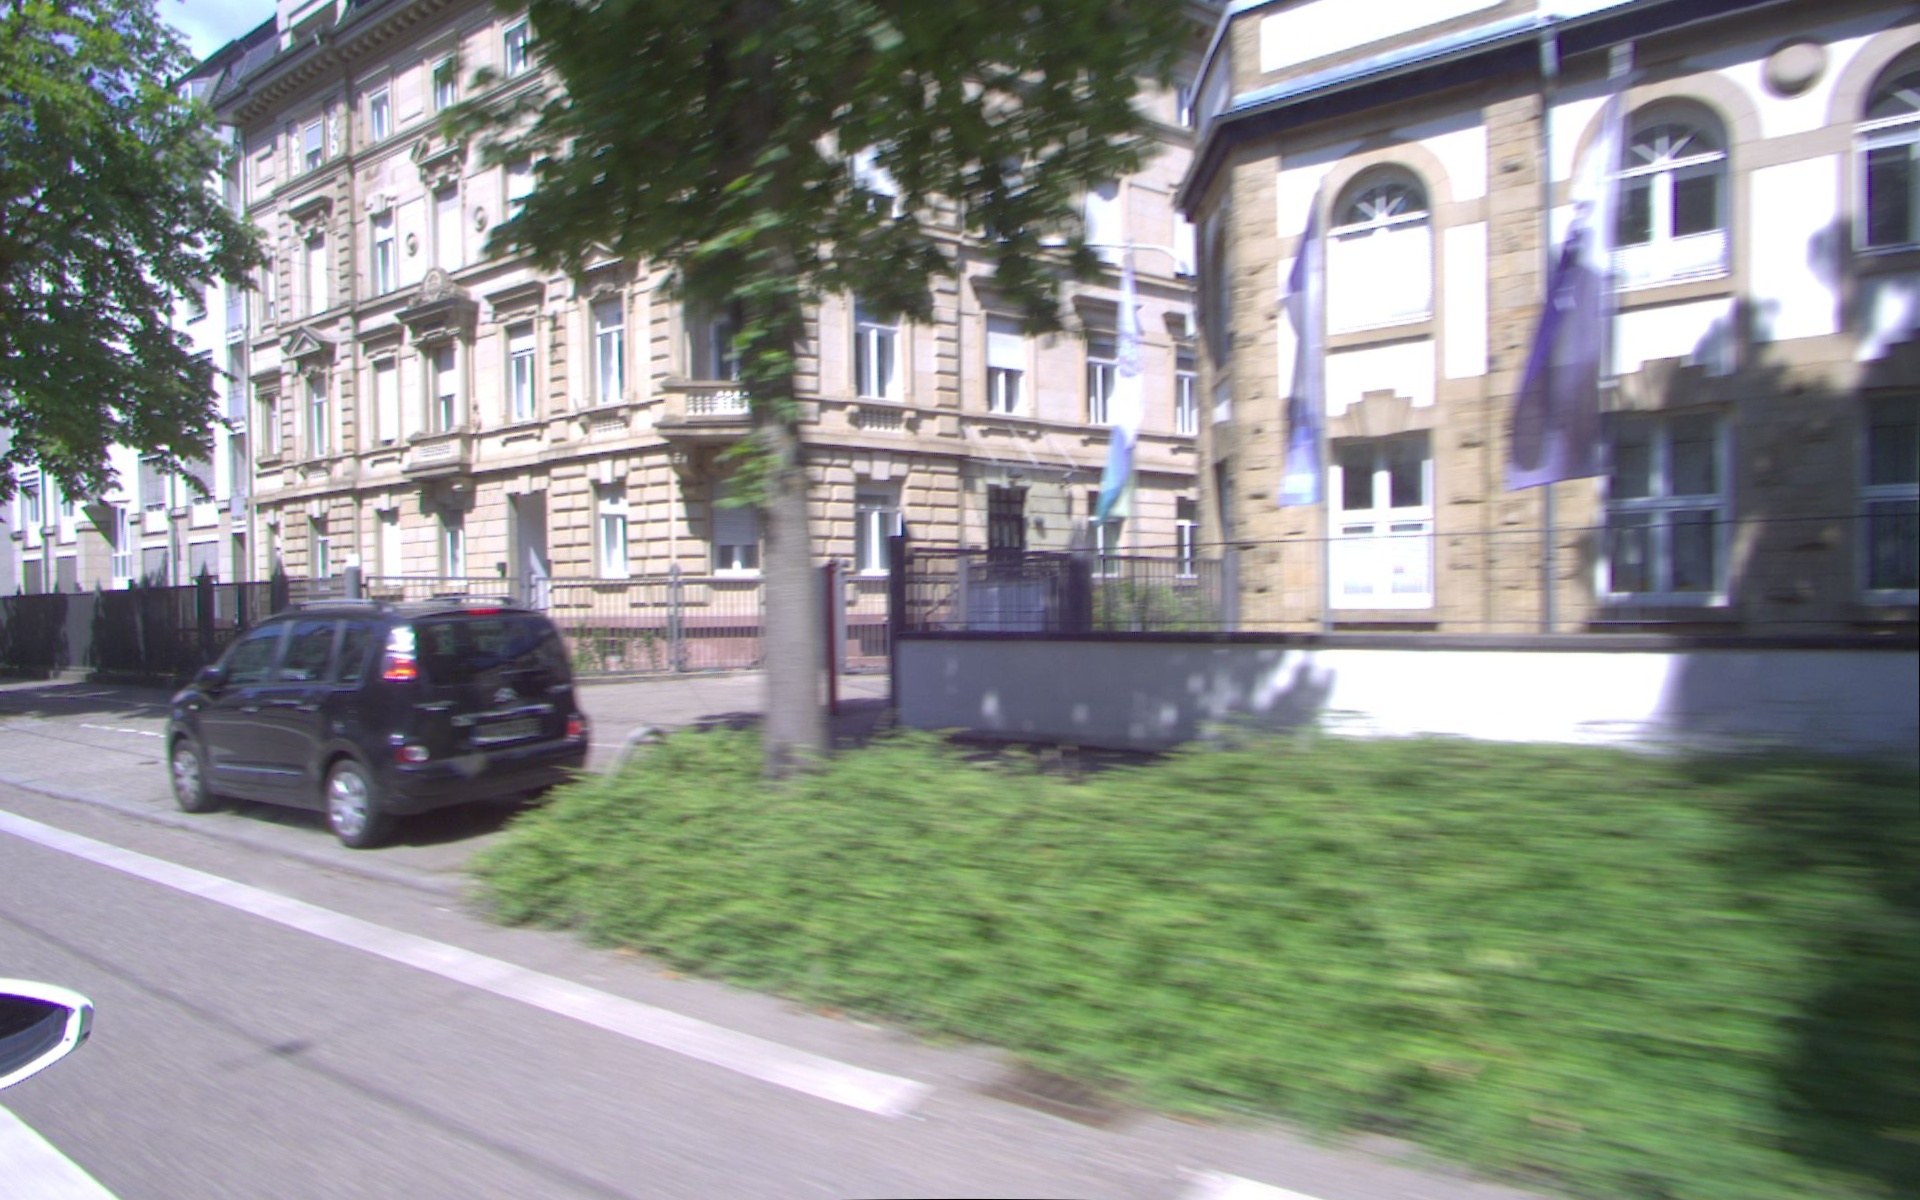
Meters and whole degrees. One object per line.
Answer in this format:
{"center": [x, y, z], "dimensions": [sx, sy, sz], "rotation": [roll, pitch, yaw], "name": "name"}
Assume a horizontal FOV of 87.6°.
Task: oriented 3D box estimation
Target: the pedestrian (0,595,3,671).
{"center": [-23.609, 0.794, 24.015], "dimensions": [1.068, 1.821, 0.683], "rotation": [0, 1, 32], "name": "pedestrian"}

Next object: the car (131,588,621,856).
{"center": [-4.785, 0.776, 8.065], "dimensions": [4.026, 1.638, 1.725], "rotation": [-1, 2, 33], "name": "car"}

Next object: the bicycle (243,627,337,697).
{"center": [-11.141, 1.003, 16.626], "dimensions": [1.953, 1.085, 0.606], "rotation": [-1, 0, 34], "name": "bicycle"}
